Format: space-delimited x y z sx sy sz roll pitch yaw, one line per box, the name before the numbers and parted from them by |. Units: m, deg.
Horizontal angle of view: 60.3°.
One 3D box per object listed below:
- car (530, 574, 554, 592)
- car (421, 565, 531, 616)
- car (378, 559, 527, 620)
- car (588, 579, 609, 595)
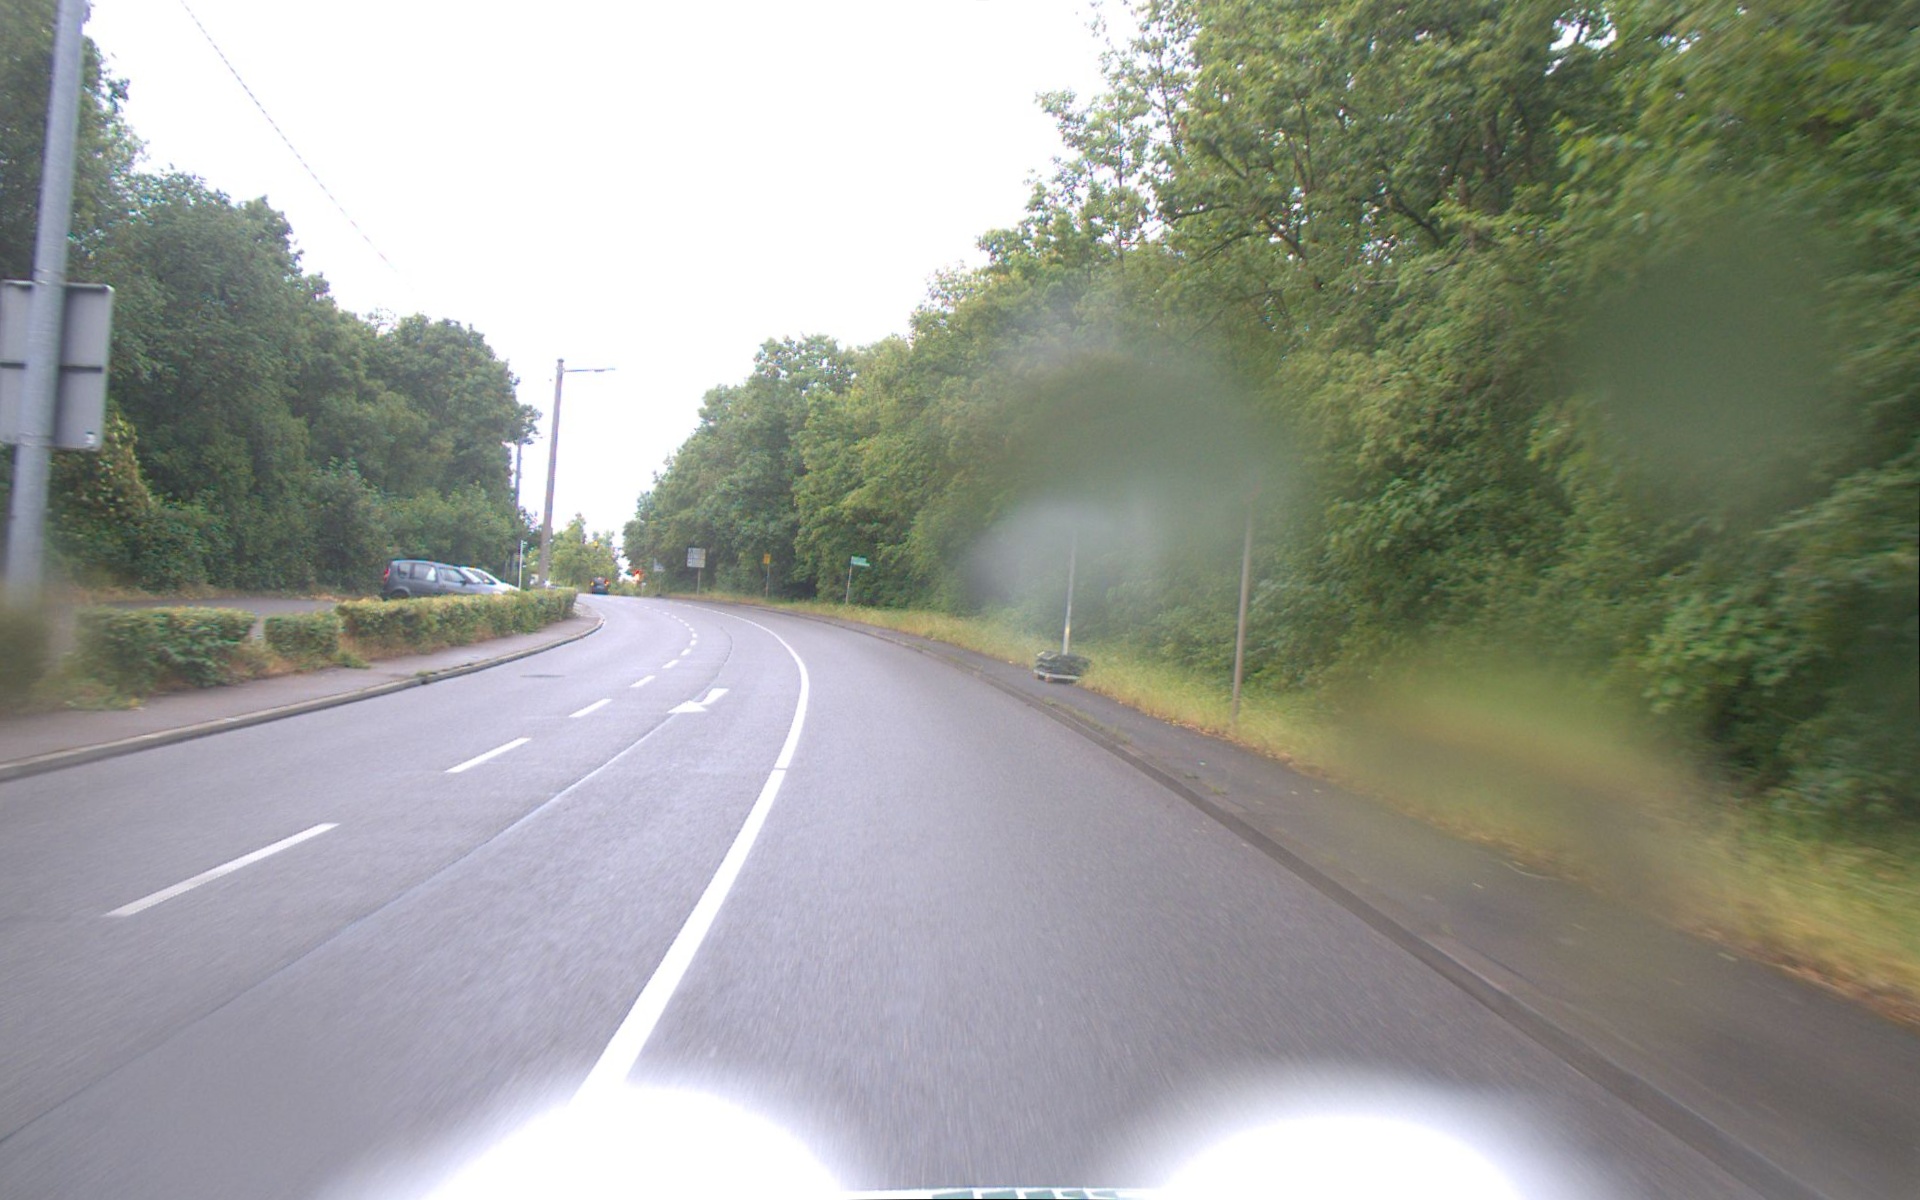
car | -37.365 -1.539 147.769 1.904 1.524 4.298 2 0 -17
car | -17.341 -0.335 59.354 3.581 1.619 1.846 3 0 -13
car | -16.447 -0.340 53.780 4.208 1.738 1.998 3 0 -6
car | -37.378 -1.376 171.007 1.900 1.524 4.307 2 0 -11
